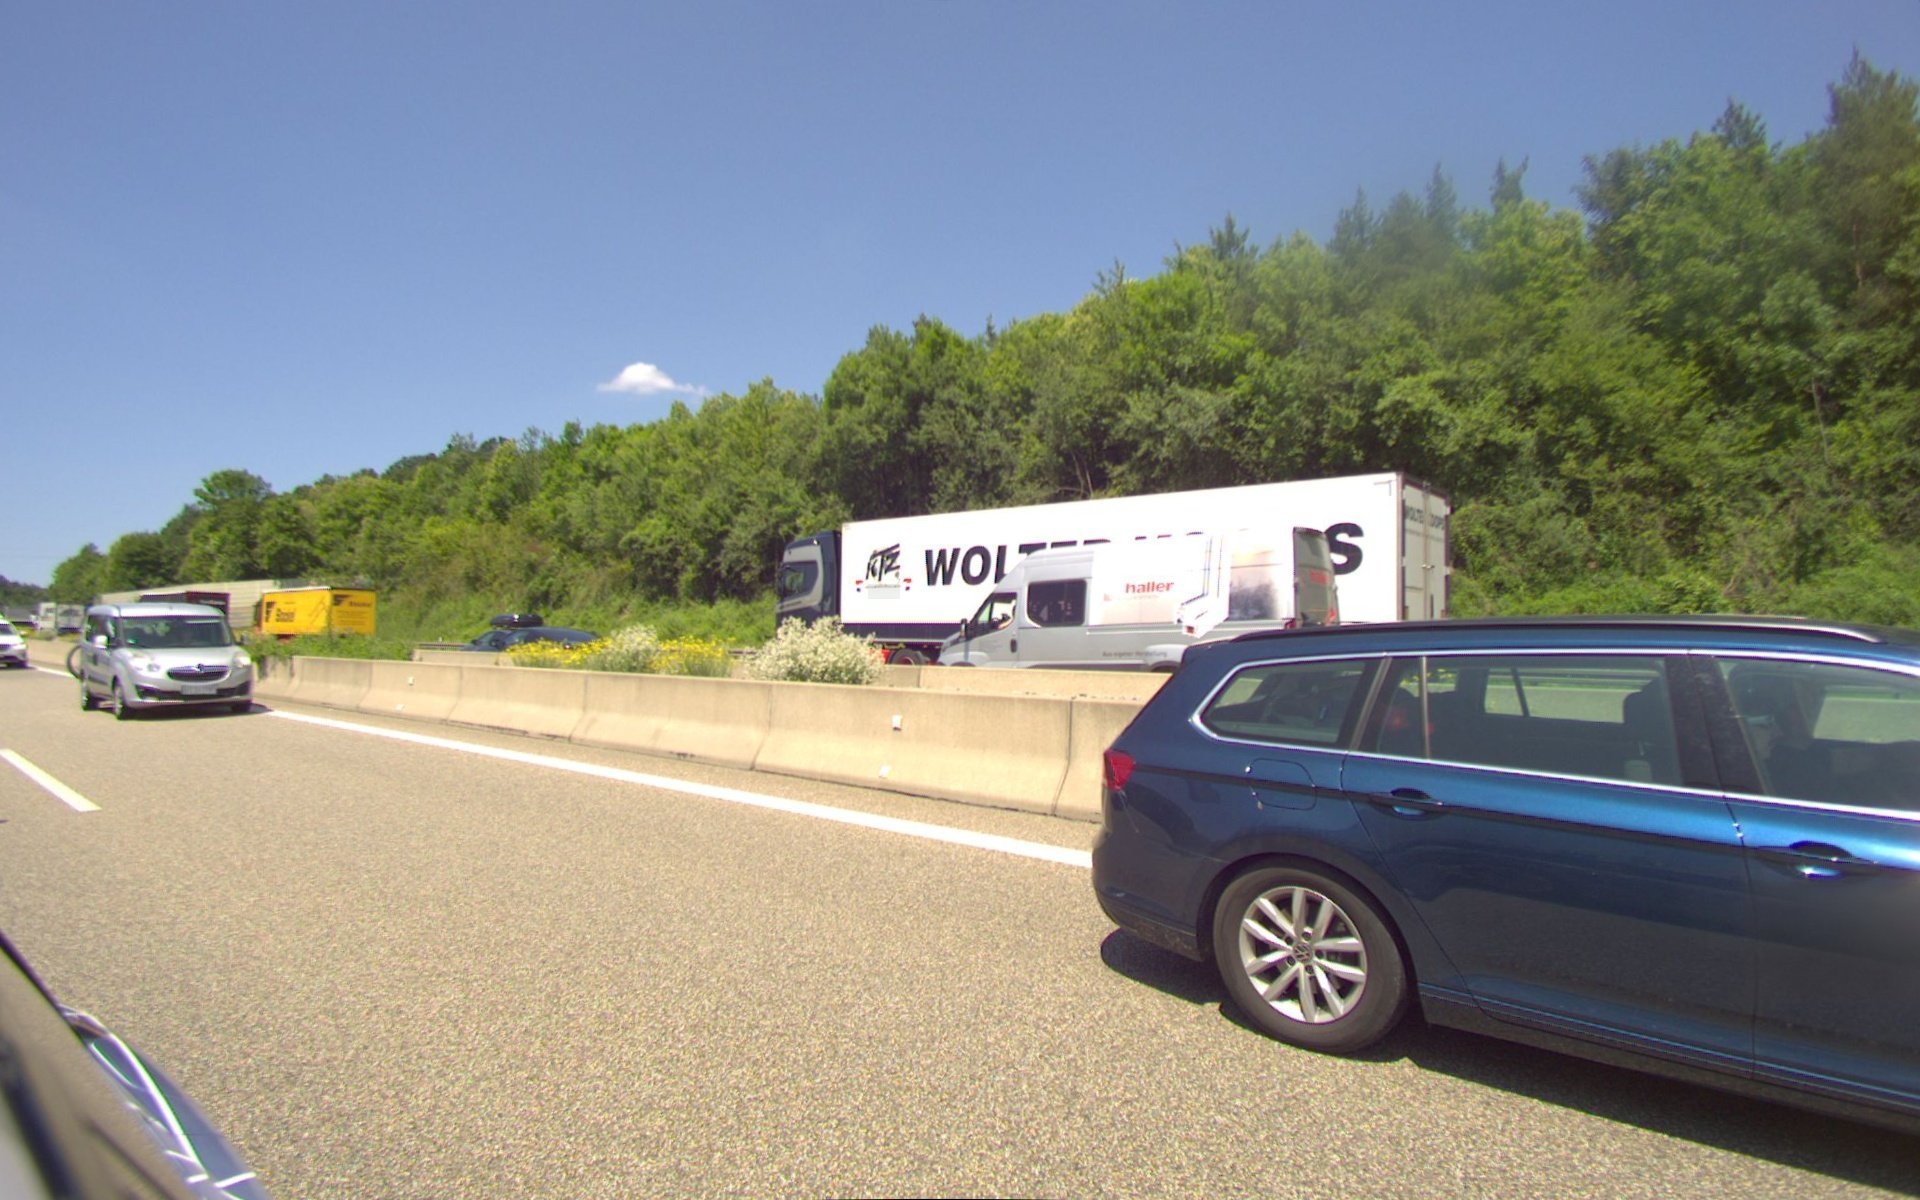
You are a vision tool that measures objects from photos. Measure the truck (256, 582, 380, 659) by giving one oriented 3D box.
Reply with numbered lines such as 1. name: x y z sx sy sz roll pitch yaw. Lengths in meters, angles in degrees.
1. truck: -42.444 1.286 66.596 14.093 4.579 3.059 -1 0 41

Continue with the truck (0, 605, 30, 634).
1. truck: -157.143 3.295 167.437 14.092 4.580 3.235 -3 -1 41

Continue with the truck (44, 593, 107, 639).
1. truck: -95.324 1.786 108.958 14.092 4.580 3.235 -3 -1 41

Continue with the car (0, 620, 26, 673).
1. car: -33.032 1.547 34.165 3.998 1.719 1.800 -1 0 41

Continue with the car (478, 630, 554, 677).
1. car: -20.888 2.454 47.532 1.970 2.029 4.003 -1 0 -44

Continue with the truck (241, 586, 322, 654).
1. truck: -47.972 1.357 71.464 7.091 4.579 3.059 -1 0 41

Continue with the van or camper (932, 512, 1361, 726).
1. van or camper: 2.824 0.275 16.779 6.707 2.898 2.370 -1 0 40

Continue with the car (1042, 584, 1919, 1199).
1. car: 2.687 0.688 3.075 4.675 1.461 1.855 -1 0 41

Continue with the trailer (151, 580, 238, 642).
1. trailer: -55.138 0.787 72.826 7.893 4.226 3.399 -1 0 41

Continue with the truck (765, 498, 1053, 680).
1. truck: -1.467 -0.214 25.410 7.212 3.949 2.909 -1 0 41

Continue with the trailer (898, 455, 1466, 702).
1. trailer: 3.832 -0.296 20.814 11.394 3.901 2.966 -1 0 41

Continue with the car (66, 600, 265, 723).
1. car: -13.591 0.931 17.200 4.916 1.786 1.833 -1 0 42

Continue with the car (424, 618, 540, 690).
1. car: -14.904 1.608 31.458 4.001 2.029 1.971 -1 0 44
